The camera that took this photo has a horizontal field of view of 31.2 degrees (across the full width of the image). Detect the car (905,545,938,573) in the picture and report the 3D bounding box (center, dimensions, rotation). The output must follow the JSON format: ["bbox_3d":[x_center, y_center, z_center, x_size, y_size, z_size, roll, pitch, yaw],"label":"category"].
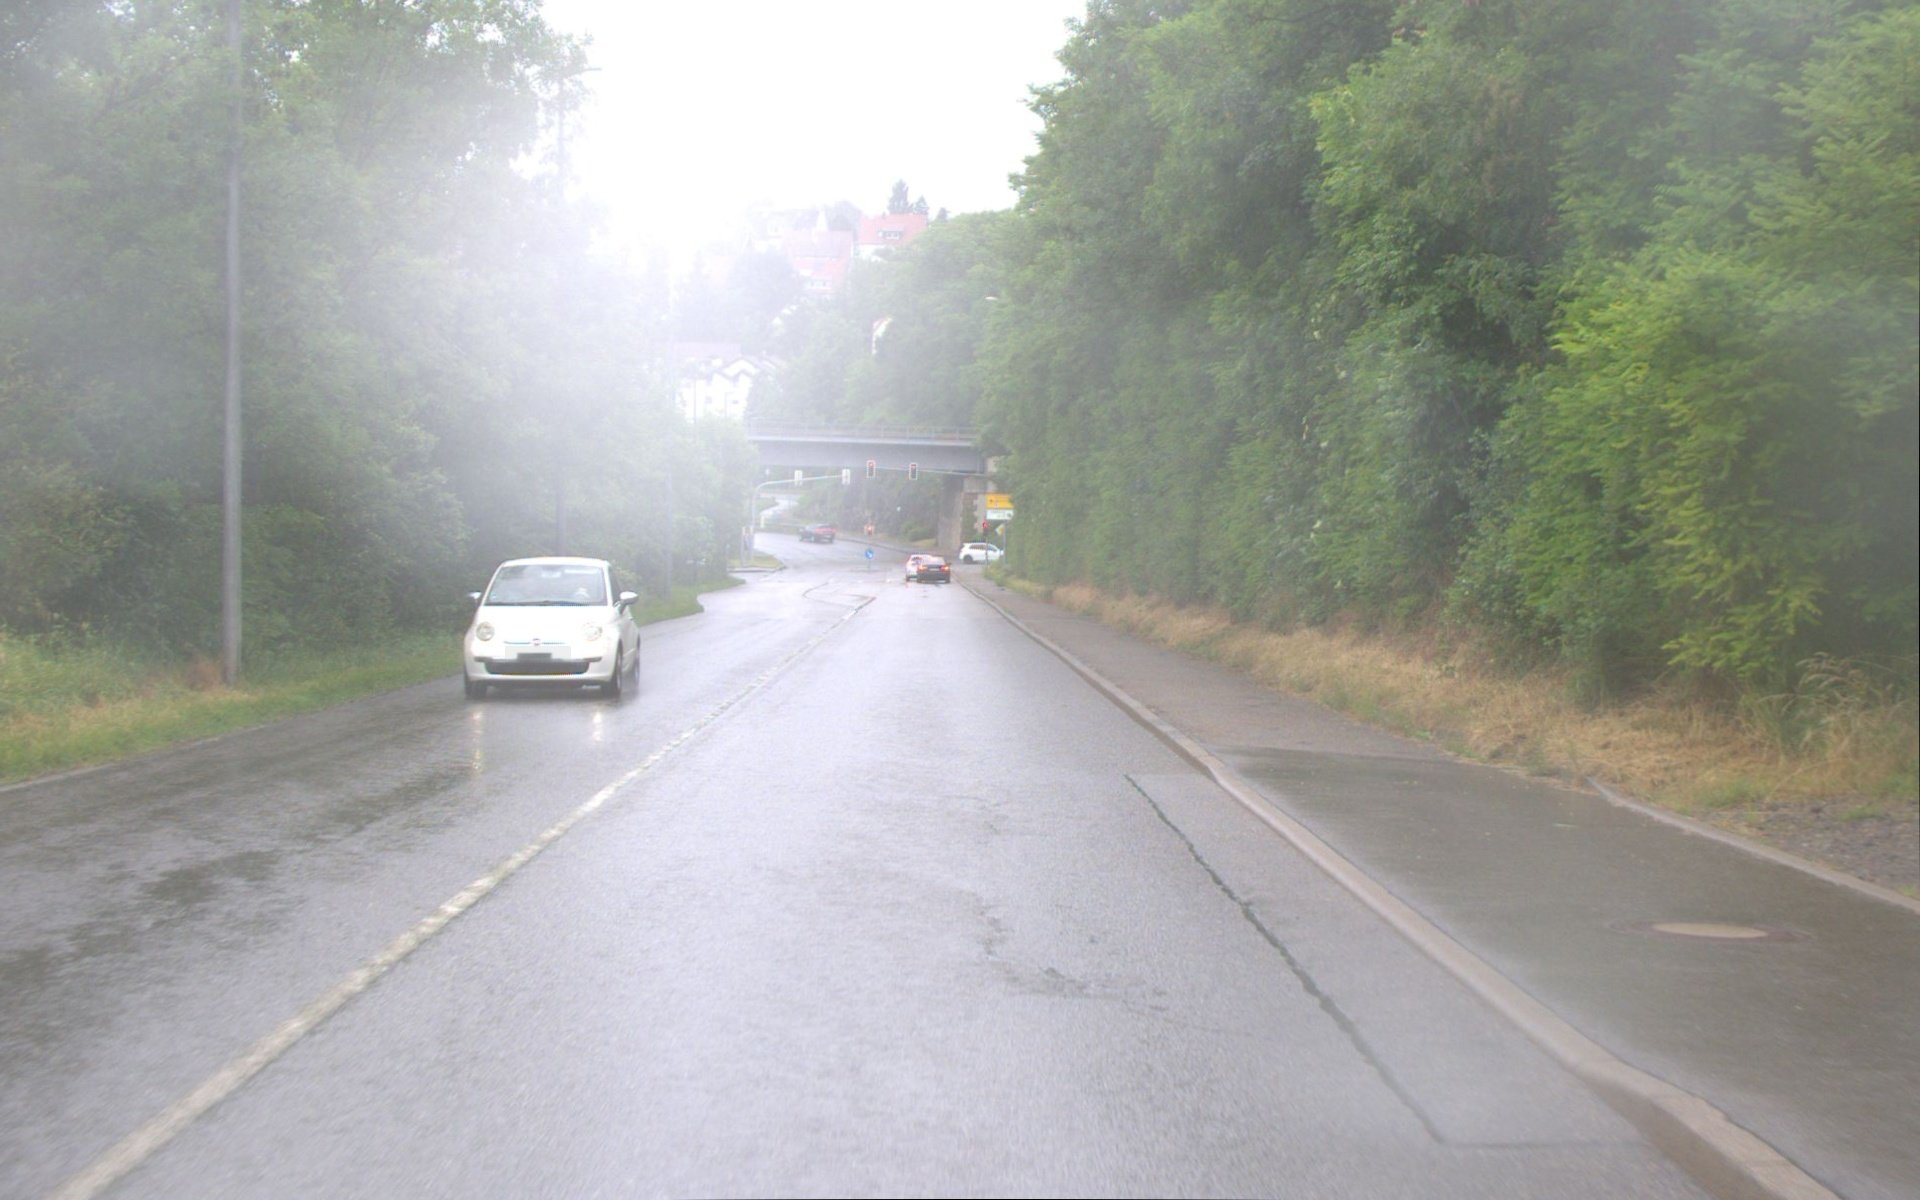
[{"bbox_3d":[-2.144,-2.276,190.640,1.768,1.557,4.000,0,1,0],"label":"car"}]

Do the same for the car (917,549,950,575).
[{"bbox_3d":[-1.406,-2.028,183.968,1.768,1.375,4.000,0,1,0],"label":"car"}]

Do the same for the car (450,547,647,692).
[{"bbox_3d":[-4.372,0.183,36.937,1.639,1.483,3.454,0,1,1],"label":"car"}]
